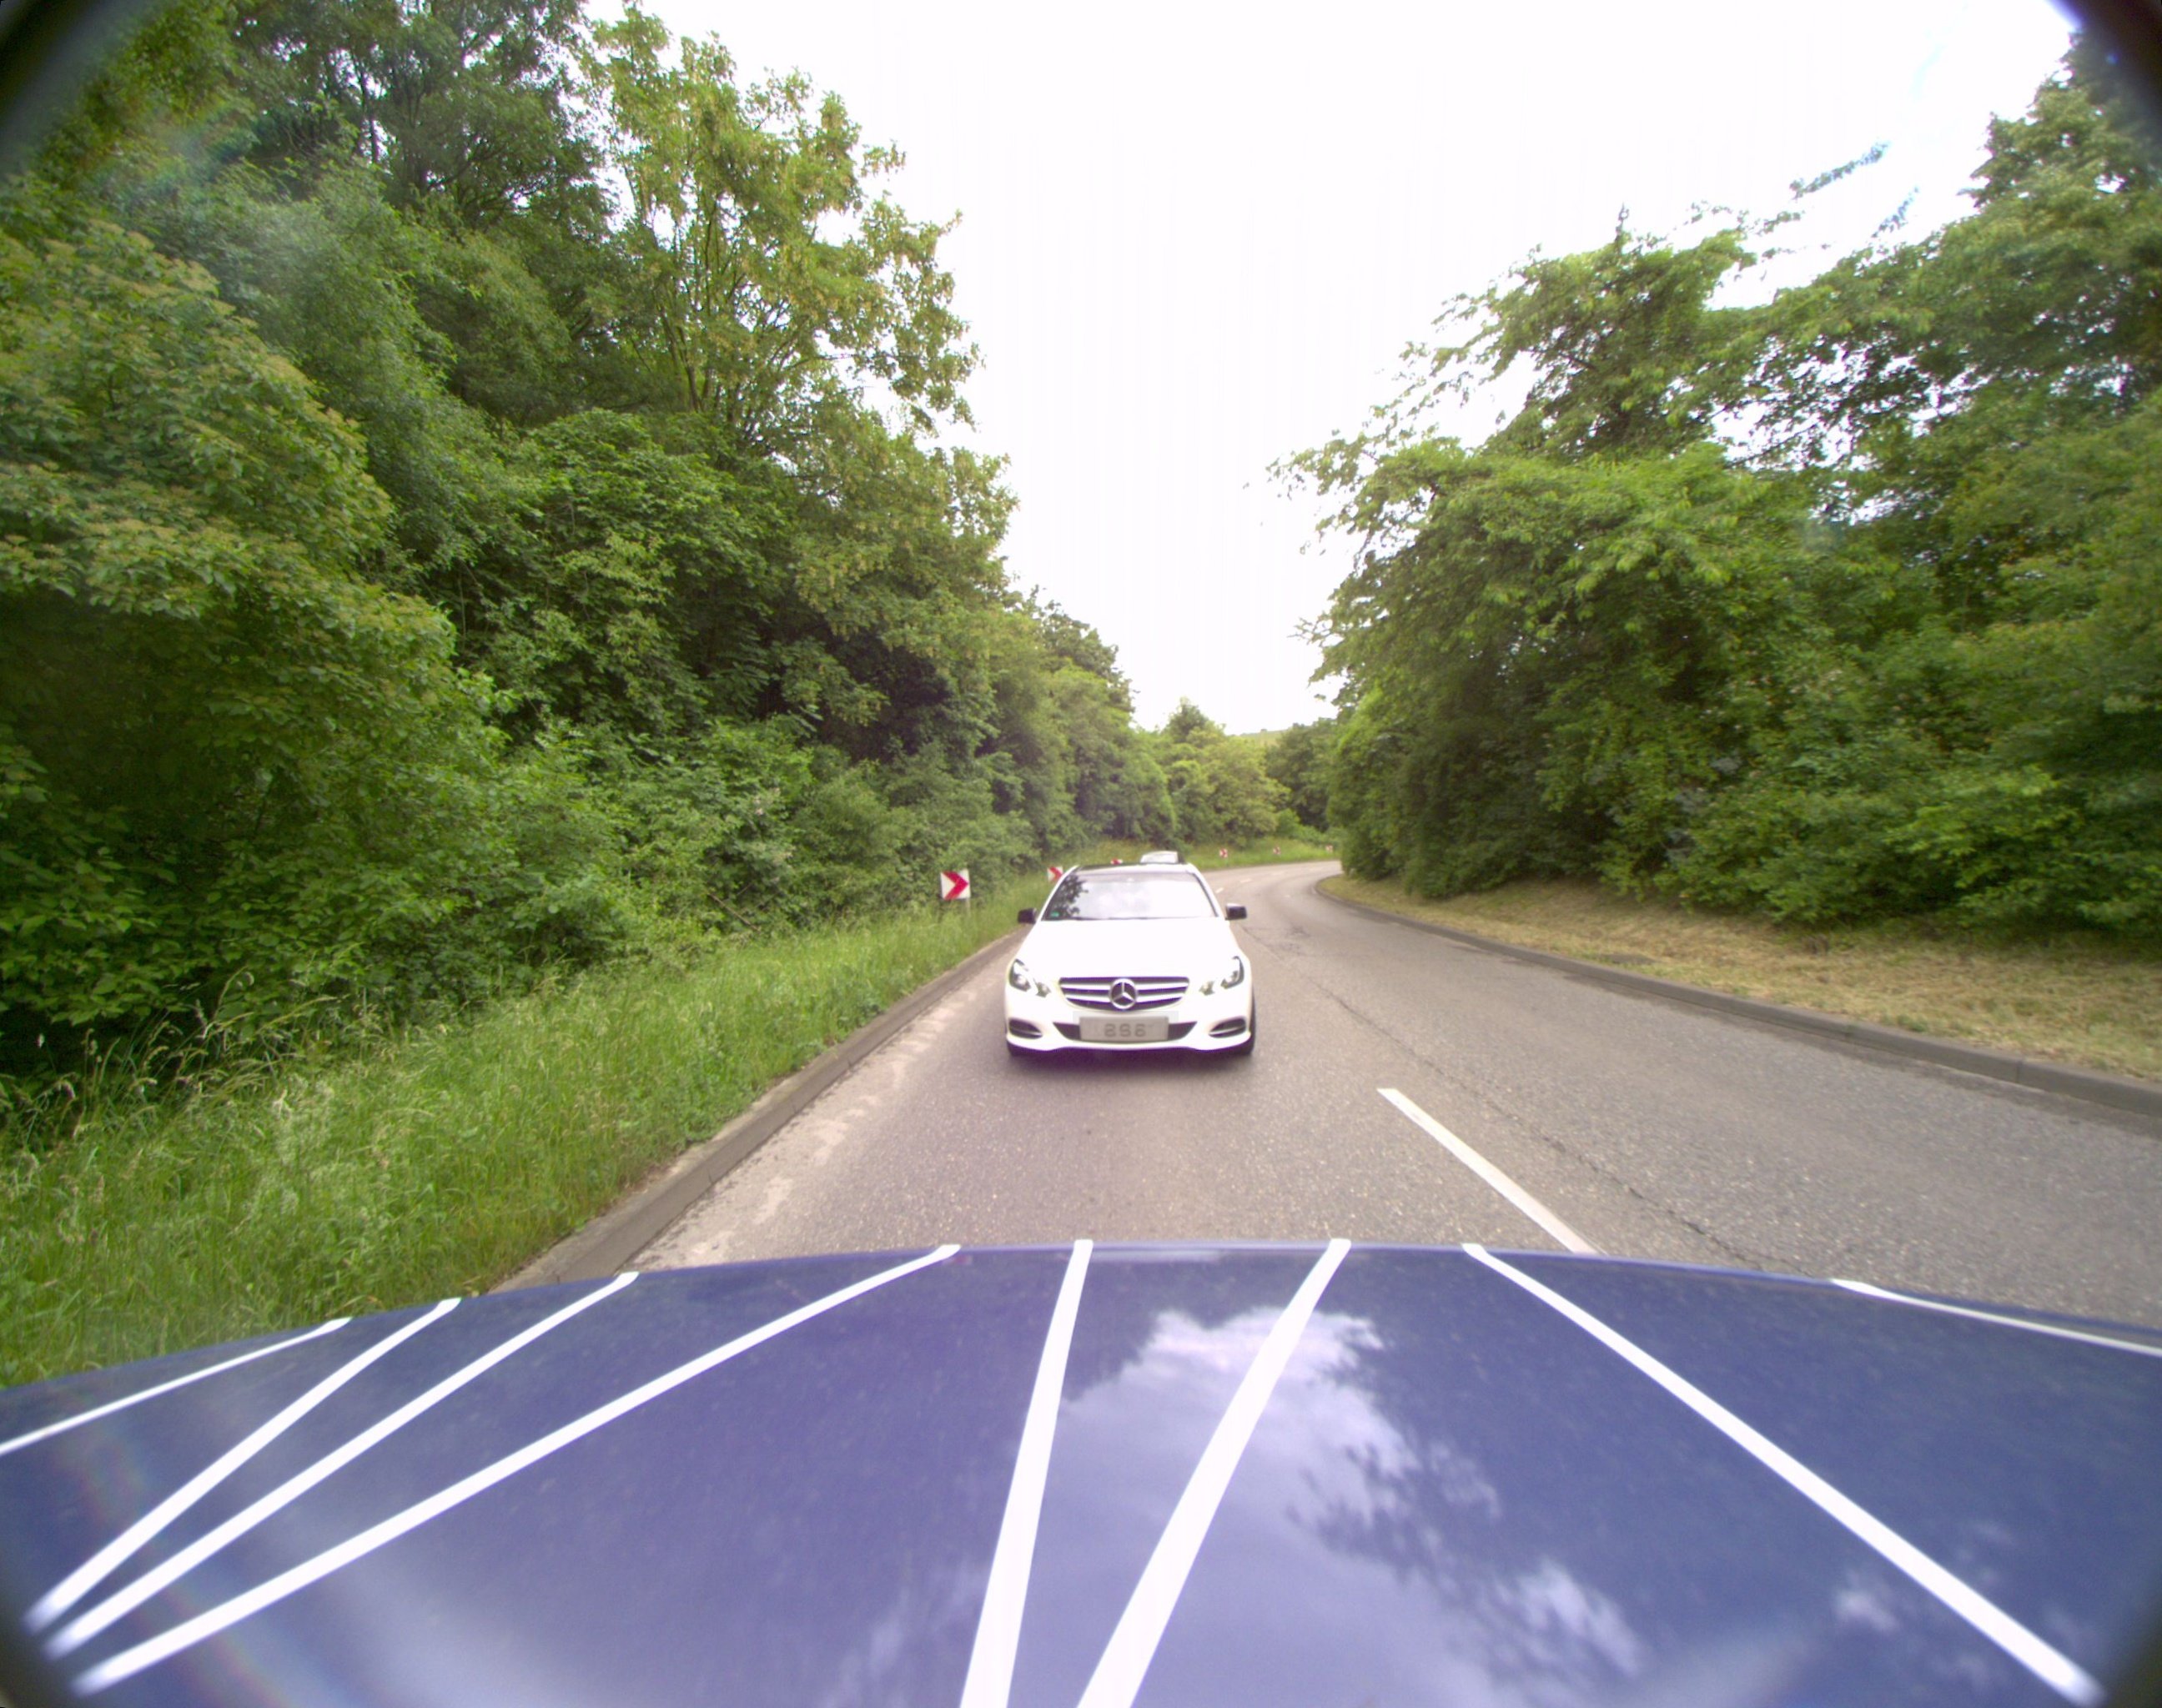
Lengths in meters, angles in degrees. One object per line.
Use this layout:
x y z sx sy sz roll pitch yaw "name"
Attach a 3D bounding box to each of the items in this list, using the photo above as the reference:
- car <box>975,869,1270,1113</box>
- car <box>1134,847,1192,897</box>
0.446 0.927 7.040 1.866 1.423 4.357 -1 0 5 "car"
3.041 0.604 27.656 1.551 1.635 3.743 1 1 14 "car"
